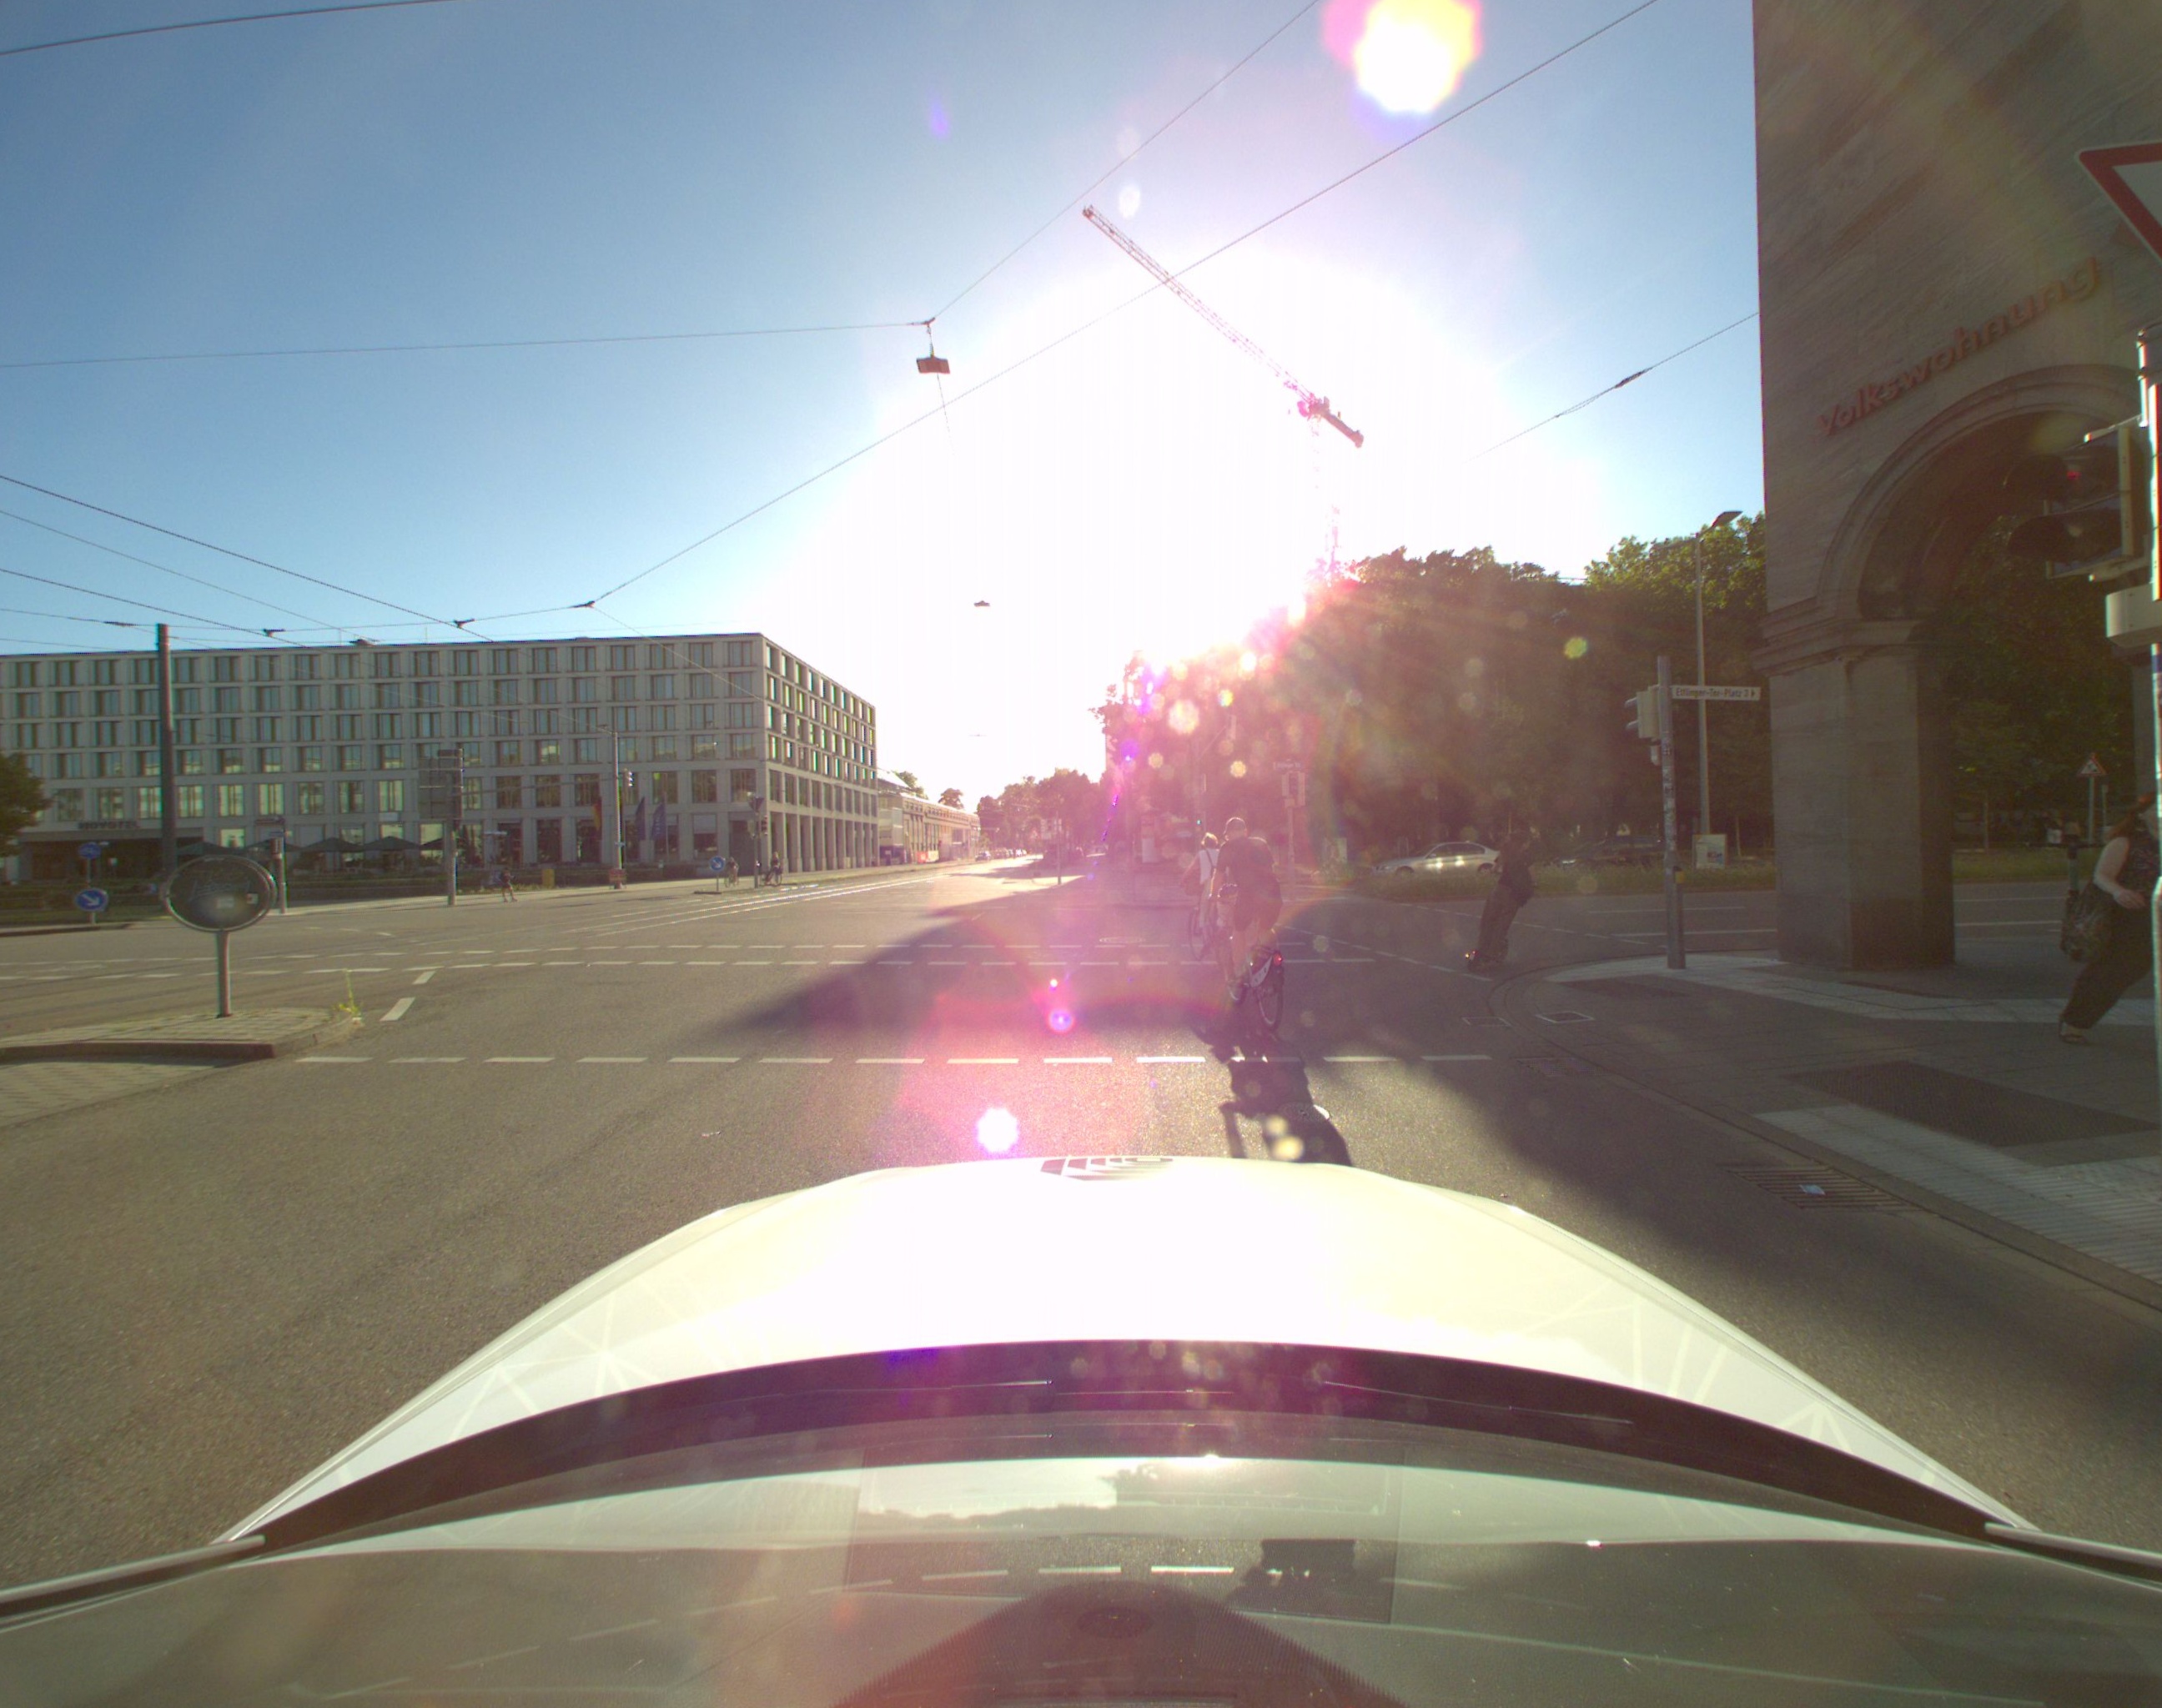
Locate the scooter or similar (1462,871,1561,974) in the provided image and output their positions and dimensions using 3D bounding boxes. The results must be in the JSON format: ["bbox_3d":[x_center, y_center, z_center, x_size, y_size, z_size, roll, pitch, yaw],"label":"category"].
[{"bbox_3d":[5.189,0.793,9.886,0.570,1.149,1.273,-1,0,3],"label":"scooter or similar"}]

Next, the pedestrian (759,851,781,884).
[{"bbox_3d":[-14.920,0.649,39.082,0.735,1.595,0.577,-2,0,29],"label":"pedestrian"}]

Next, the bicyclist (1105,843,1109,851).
[{"bbox_3d":[6.278,-1.682,194.946,0.891,2.014,0.746,0,-1,-10],"label":"bicyclist"}]

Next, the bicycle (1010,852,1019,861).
[{"bbox_3d":[-10.040,0.374,123.324,0.746,1.205,3.114,-1,0,7],"label":"bicycle"}]

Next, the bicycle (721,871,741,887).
[{"bbox_3d":[-19.603,1.399,45.648,0.492,0.839,1.158,-2,0,4],"label":"bicycle"}]

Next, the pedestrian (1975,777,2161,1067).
[{"bbox_3d":[6.252,0.366,4.961,0.594,1.607,0.813,-5,0,1],"label":"pedestrian"}]

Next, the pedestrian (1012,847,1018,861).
[{"bbox_3d":[-10.031,-0.023,123.392,0.746,2.063,1.052,-1,-1,7],"label":"pedestrian"}]

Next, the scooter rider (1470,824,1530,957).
[{"bbox_3d":[5.138,0.433,9.976,0.539,1.562,0.580,-2,-1,35],"label":"scooter rider"}]

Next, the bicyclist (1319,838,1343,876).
[{"bbox_3d":[9.473,0.113,30.856,0.742,1.406,0.704,-1,-1,8],"label":"bicyclist"}]

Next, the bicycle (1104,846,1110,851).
[{"bbox_3d":[6.258,-1.279,195.071,0.890,1.219,2.784,0,0,-9],"label":"bicycle"}]

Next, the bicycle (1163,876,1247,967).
[{"bbox_3d":[1.601,0.844,10.797,0.582,1.044,1.741,-2,0,-9],"label":"bicycle"}]

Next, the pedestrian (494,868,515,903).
[{"bbox_3d":[-28.335,1.524,40.039,0.598,1.681,0.610,-2,0,25],"label":"pedestrian"}]

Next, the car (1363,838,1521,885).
[{"bbox_3d":[12.287,0.269,27.974,4.559,1.516,2.001,0,0,1],"label":"car"}]

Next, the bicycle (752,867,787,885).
[{"bbox_3d":[-14.940,1.040,39.097,1.696,0.823,0.577,-2,0,29],"label":"bicycle"}]

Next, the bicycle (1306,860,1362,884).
[{"bbox_3d":[9.567,0.676,30.845,1.932,0.889,0.719,-1,-1,8],"label":"bicycle"}]

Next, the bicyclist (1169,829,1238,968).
[{"bbox_3d":[1.602,0.559,10.764,0.584,1.738,0.947,-2,0,-10],"label":"bicyclist"}]

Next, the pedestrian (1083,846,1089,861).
[{"bbox_3d":[0.532,-0.070,92.397,0.576,1.689,0.584,-2,0,-6],"label":"pedestrian"}]

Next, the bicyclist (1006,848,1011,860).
[{"bbox_3d":[-11.530,0.051,129.573,0.748,1.920,1.215,0,-1,1],"label":"bicyclist"}]

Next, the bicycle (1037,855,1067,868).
[{"bbox_3d":[-2.184,0.583,62.001,2.240,0.940,0.653,-2,0,-3],"label":"bicycle"}]

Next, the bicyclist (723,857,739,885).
[{"bbox_3d":[-19.614,0.948,45.648,0.492,1.498,0.667,-2,0,4],"label":"bicyclist"}]

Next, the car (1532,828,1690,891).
[{"bbox_3d":[17.734,0.197,27.411,3.970,2.014,2.002,-1,0,3],"label":"car"}]

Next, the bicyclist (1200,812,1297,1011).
[{"bbox_3d":[1.529,0.496,7.557,0.622,1.715,0.911,-2,0,-4],"label":"bicyclist"}]

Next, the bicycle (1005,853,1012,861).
[{"bbox_3d":[-11.533,0.438,129.536,0.748,1.205,3.108,0,0,1],"label":"bicycle"}]

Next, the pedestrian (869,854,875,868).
[{"bbox_3d":[-28.055,0.882,109.123,0.582,1.889,0.481,-1,-1,28],"label":"pedestrian"}]

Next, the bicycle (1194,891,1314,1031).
[{"bbox_3d":[1.548,0.916,7.572,0.622,1.044,1.745,-2,0,-3],"label":"bicycle"}]

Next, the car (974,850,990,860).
[{"bbox_3d":[-15.877,0.158,130.953,1.988,1.599,3.999,-2,0,-1],"label":"car"}]
